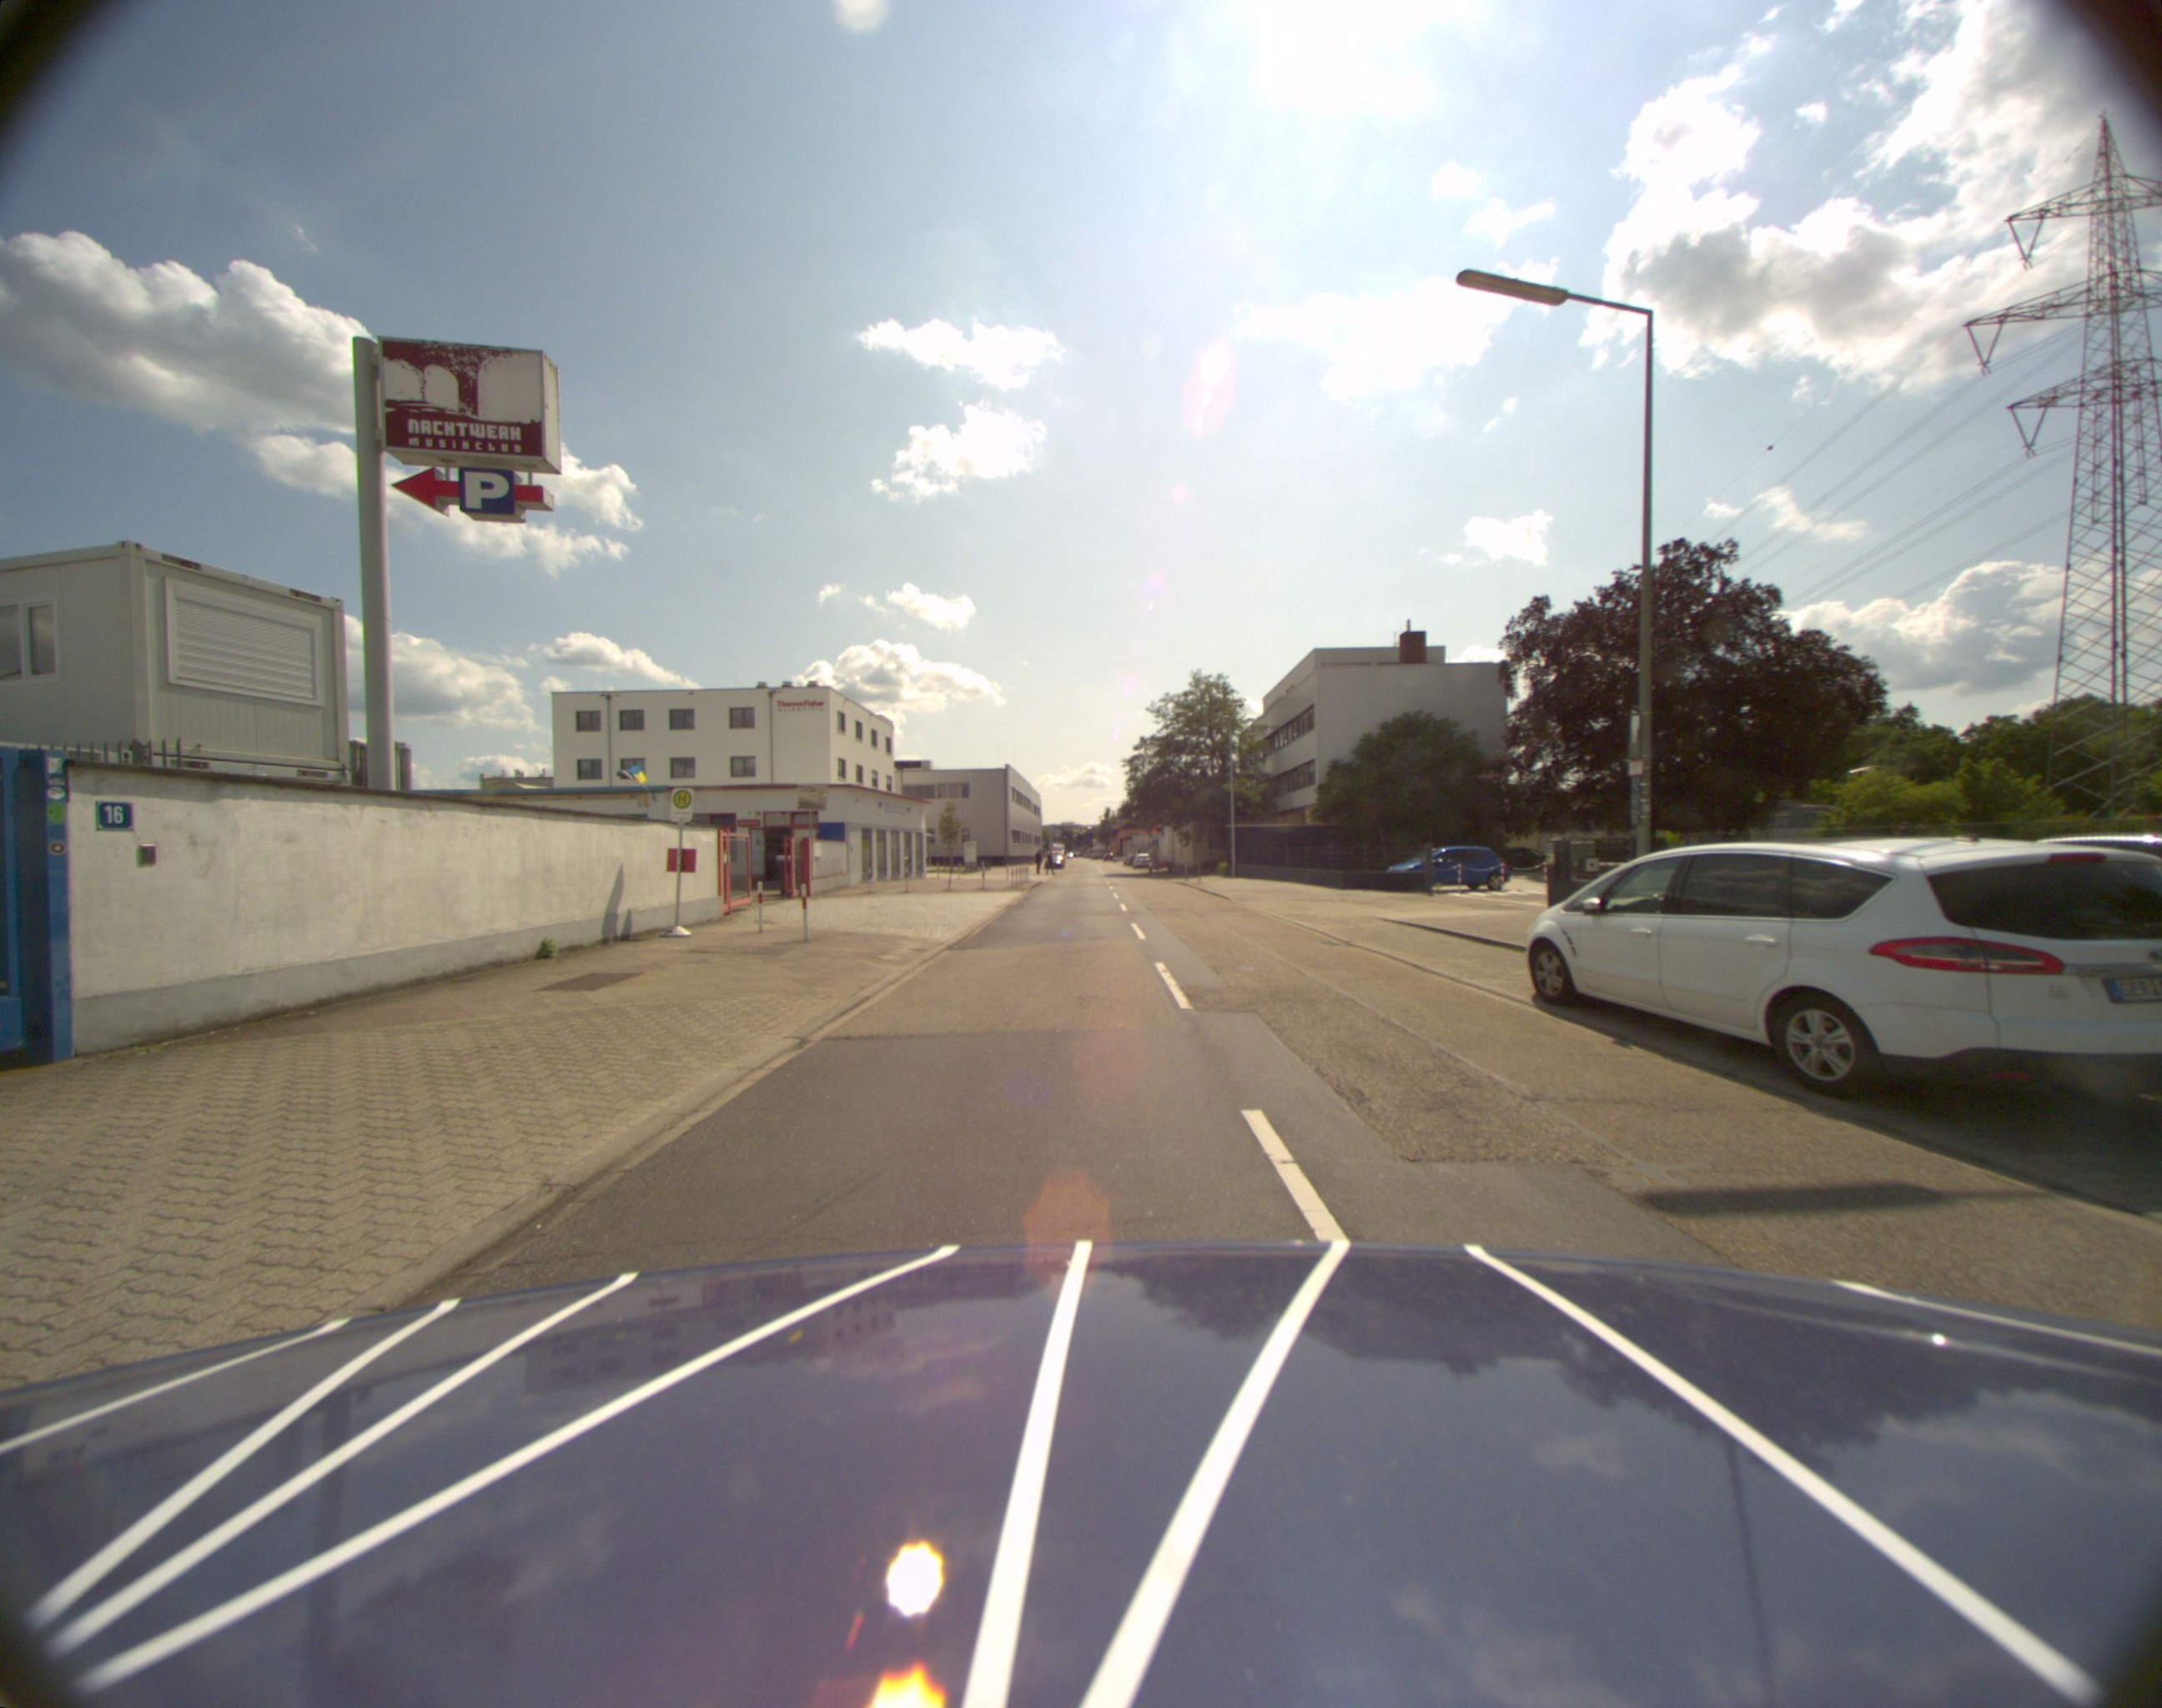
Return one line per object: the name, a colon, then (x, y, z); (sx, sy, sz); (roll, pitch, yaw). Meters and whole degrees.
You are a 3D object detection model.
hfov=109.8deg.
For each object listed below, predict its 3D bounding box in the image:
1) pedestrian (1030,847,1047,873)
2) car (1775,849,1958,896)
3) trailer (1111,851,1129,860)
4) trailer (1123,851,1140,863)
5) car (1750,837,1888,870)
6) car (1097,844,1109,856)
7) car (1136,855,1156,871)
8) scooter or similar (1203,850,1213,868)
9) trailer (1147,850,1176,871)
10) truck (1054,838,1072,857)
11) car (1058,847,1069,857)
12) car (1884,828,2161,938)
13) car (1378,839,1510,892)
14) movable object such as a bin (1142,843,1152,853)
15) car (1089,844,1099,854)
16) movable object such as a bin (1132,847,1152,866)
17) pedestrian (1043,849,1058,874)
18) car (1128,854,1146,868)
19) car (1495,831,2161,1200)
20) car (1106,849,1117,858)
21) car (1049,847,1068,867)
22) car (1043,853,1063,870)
pedestrian: (-3.174, 0.451, 56.819); (0.994, 1.940, 1.089); (-1, 1, -22)
car: (26.411, 0.608, 25.680); (4.207, 1.493, 1.681); (0, 1, 5)
trailer: (6.143, 0.205, 120.026); (2.457, 1.157, 6.051); (-3, 1, 0)
trailer: (6.759, 0.389, 101.347); (1.772, 1.369, 5.049); (-3, 1, -1)
car: (33.662, -0.037, 34.760); (4.291, 1.400, 1.830); (0, 1, 5)
car: (4.939, -0.976, 170.377); (2.079, 2.527, 5.822); (-4, 1, -2)
car: (6.571, 0.891, 77.268); (1.677, 1.447, 4.513); (-3, 1, 1)
scooter or similar: (9.504, 0.373, 56.786); (0.483, 1.272, 1.360); (-4, 1, 1)
trailer: (6.432, 0.477, 61.101); (1.771, 1.431, 4.335); (-4, 1, 1)
truck: (-3.379, -1.130, 138.794); (2.608, 3.207, 8.073); (-4, 1, -4)
car: (-2.891, -0.353, 123.254); (1.715, 1.502, 4.113); (-4, 1, -2)
car: (17.025, 0.379, 12.924); (1.828, 1.627, 4.845); (0, 1, 4)
car: (12.384, 0.374, 26.077); (3.657, 1.699, 1.878); (-1, 1, 0)
movable object such as a bin: (9.812, -0.865, 113.081); (1.319, 1.419, 1.151); (-1, 1, -5)
car: (3.296, -1.316, 193.369); (1.999, 2.556, 5.822); (-4, 1, -2)
movable object such as a bin: (6.603, 0.206, 82.923); (1.618, 1.908, 5.137); (-5, 1, 0)
pedestrian: (-2.289, 0.553, 57.358); (0.860, 1.797, 1.003); (-1, 1, -22)
car: (6.659, 0.777, 90.450); (1.677, 1.447, 4.223); (-3, 1, 0)
car: (5.484, 0.719, 5.968); (1.872, 1.698, 4.752); (-2, 1, 0)
car: (5.593, -0.103, 138.872); (1.714, 1.459, 4.628); (-4, 1, -1)
car: (-2.402, 0.272, 82.767); (1.877, 1.881, 4.451); (-5, 1, -1)
car: (-2.798, 0.736, 76.849); (1.663, 1.549, 4.177); (-4, 1, 2)
